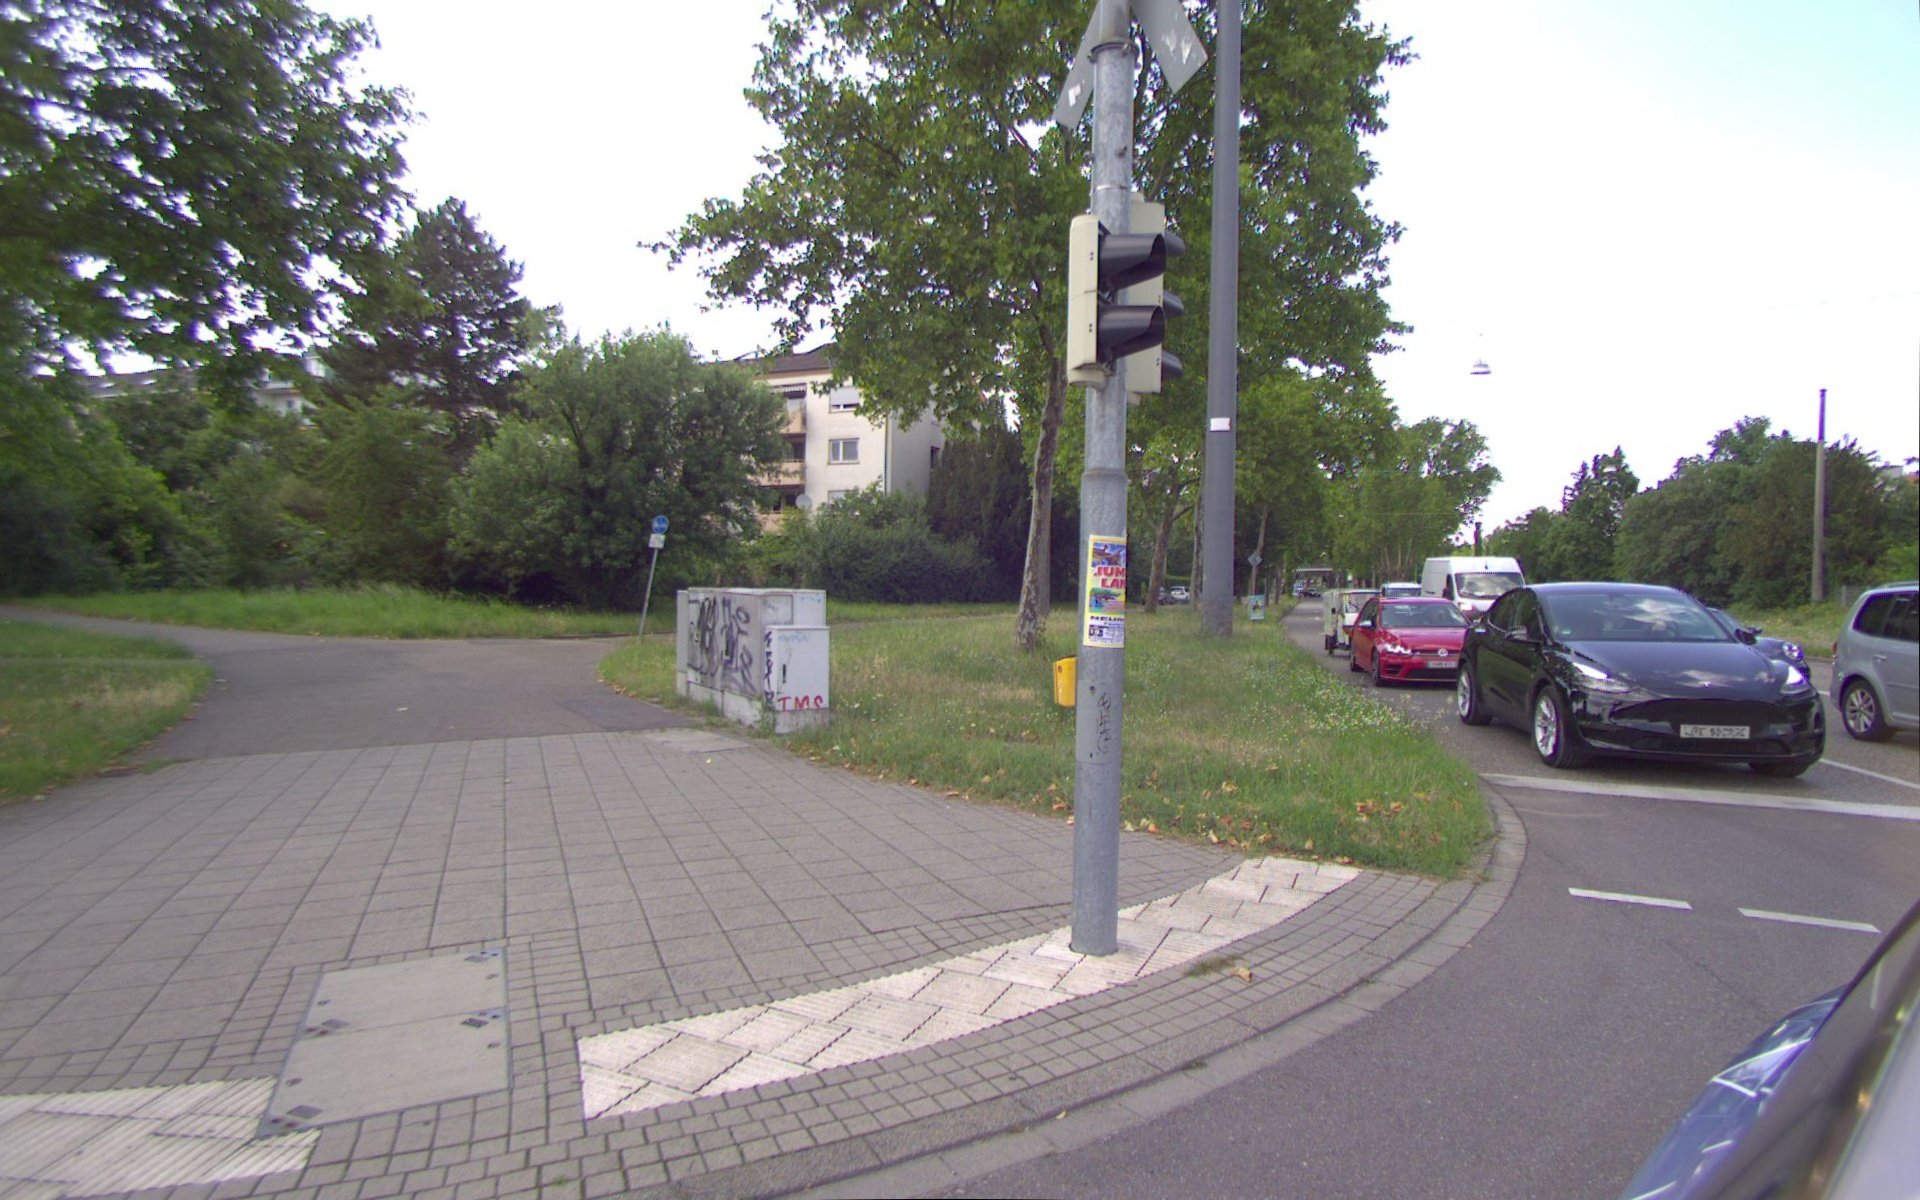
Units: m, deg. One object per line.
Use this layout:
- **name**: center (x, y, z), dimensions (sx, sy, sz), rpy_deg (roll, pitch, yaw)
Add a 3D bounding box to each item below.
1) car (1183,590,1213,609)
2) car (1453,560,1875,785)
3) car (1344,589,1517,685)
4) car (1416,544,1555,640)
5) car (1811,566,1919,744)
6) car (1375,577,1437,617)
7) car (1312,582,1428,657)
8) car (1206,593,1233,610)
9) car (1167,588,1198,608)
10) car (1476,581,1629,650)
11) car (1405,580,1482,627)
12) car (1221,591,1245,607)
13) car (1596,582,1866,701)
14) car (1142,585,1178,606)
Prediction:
- **car**: center (21.835, -0.038, 92.911), dimensions (1.761, 1.616, 3.618), rpy_deg (1, -1, 29)
- **car**: center (6.412, 0.505, 9.959), dimensions (1.904, 1.672, 4.560), rpy_deg (-1, 1, 15)
- **car**: center (7.928, 0.538, 17.497), dimensions (1.775, 1.408, 4.485), rpy_deg (-1, 1, 13)
- **car**: center (15.434, -0.248, 30.163), dimensions (2.194, 2.561, 5.911), rpy_deg (-1, 1, 13)
- **car**: center (9.844, 0.520, 8.763), dimensions (1.901, 1.672, 4.485), rpy_deg (-1, 1, 13)
- **car**: center (19.986, -0.185, 45.512), dimensions (1.738, 1.667, 4.327), rpy_deg (1, 1, 13)
- **car**: center (9.510, 0.382, 23.800), dimensions (1.775, 1.589, 4.485), rpy_deg (-1, 1, 13)
- **car**: center (26.411, 0.206, 102.835), dimensions (1.761, 1.616, 3.618), rpy_deg (1, -1, 29)
- **car**: center (19.588, -0.145, 88.960), dimensions (1.761, 1.616, 3.618), rpy_deg (1, -1, 29)
- **car**: center (13.225, 0.281, 22.893), dimensions (1.738, 1.392, 4.327), rpy_deg (-1, 1, 13)
- **car**: center (17.961, 0.079, 37.776), dimensions (1.817, 1.638, 4.138), rpy_deg (0, 1, 14)
- **car**: center (29.670, -0.116, 109.964), dimensions (1.761, 1.616, 3.618), rpy_deg (1, -1, 29)
- **car**: center (11.297, 0.512, 15.210), dimensions (1.778, 1.527, 3.983), rpy_deg (-1, 1, 14)
- **car**: center (16.024, -0.339, 80.930), dimensions (1.761, 1.616, 3.618), rpy_deg (1, -1, 29)
